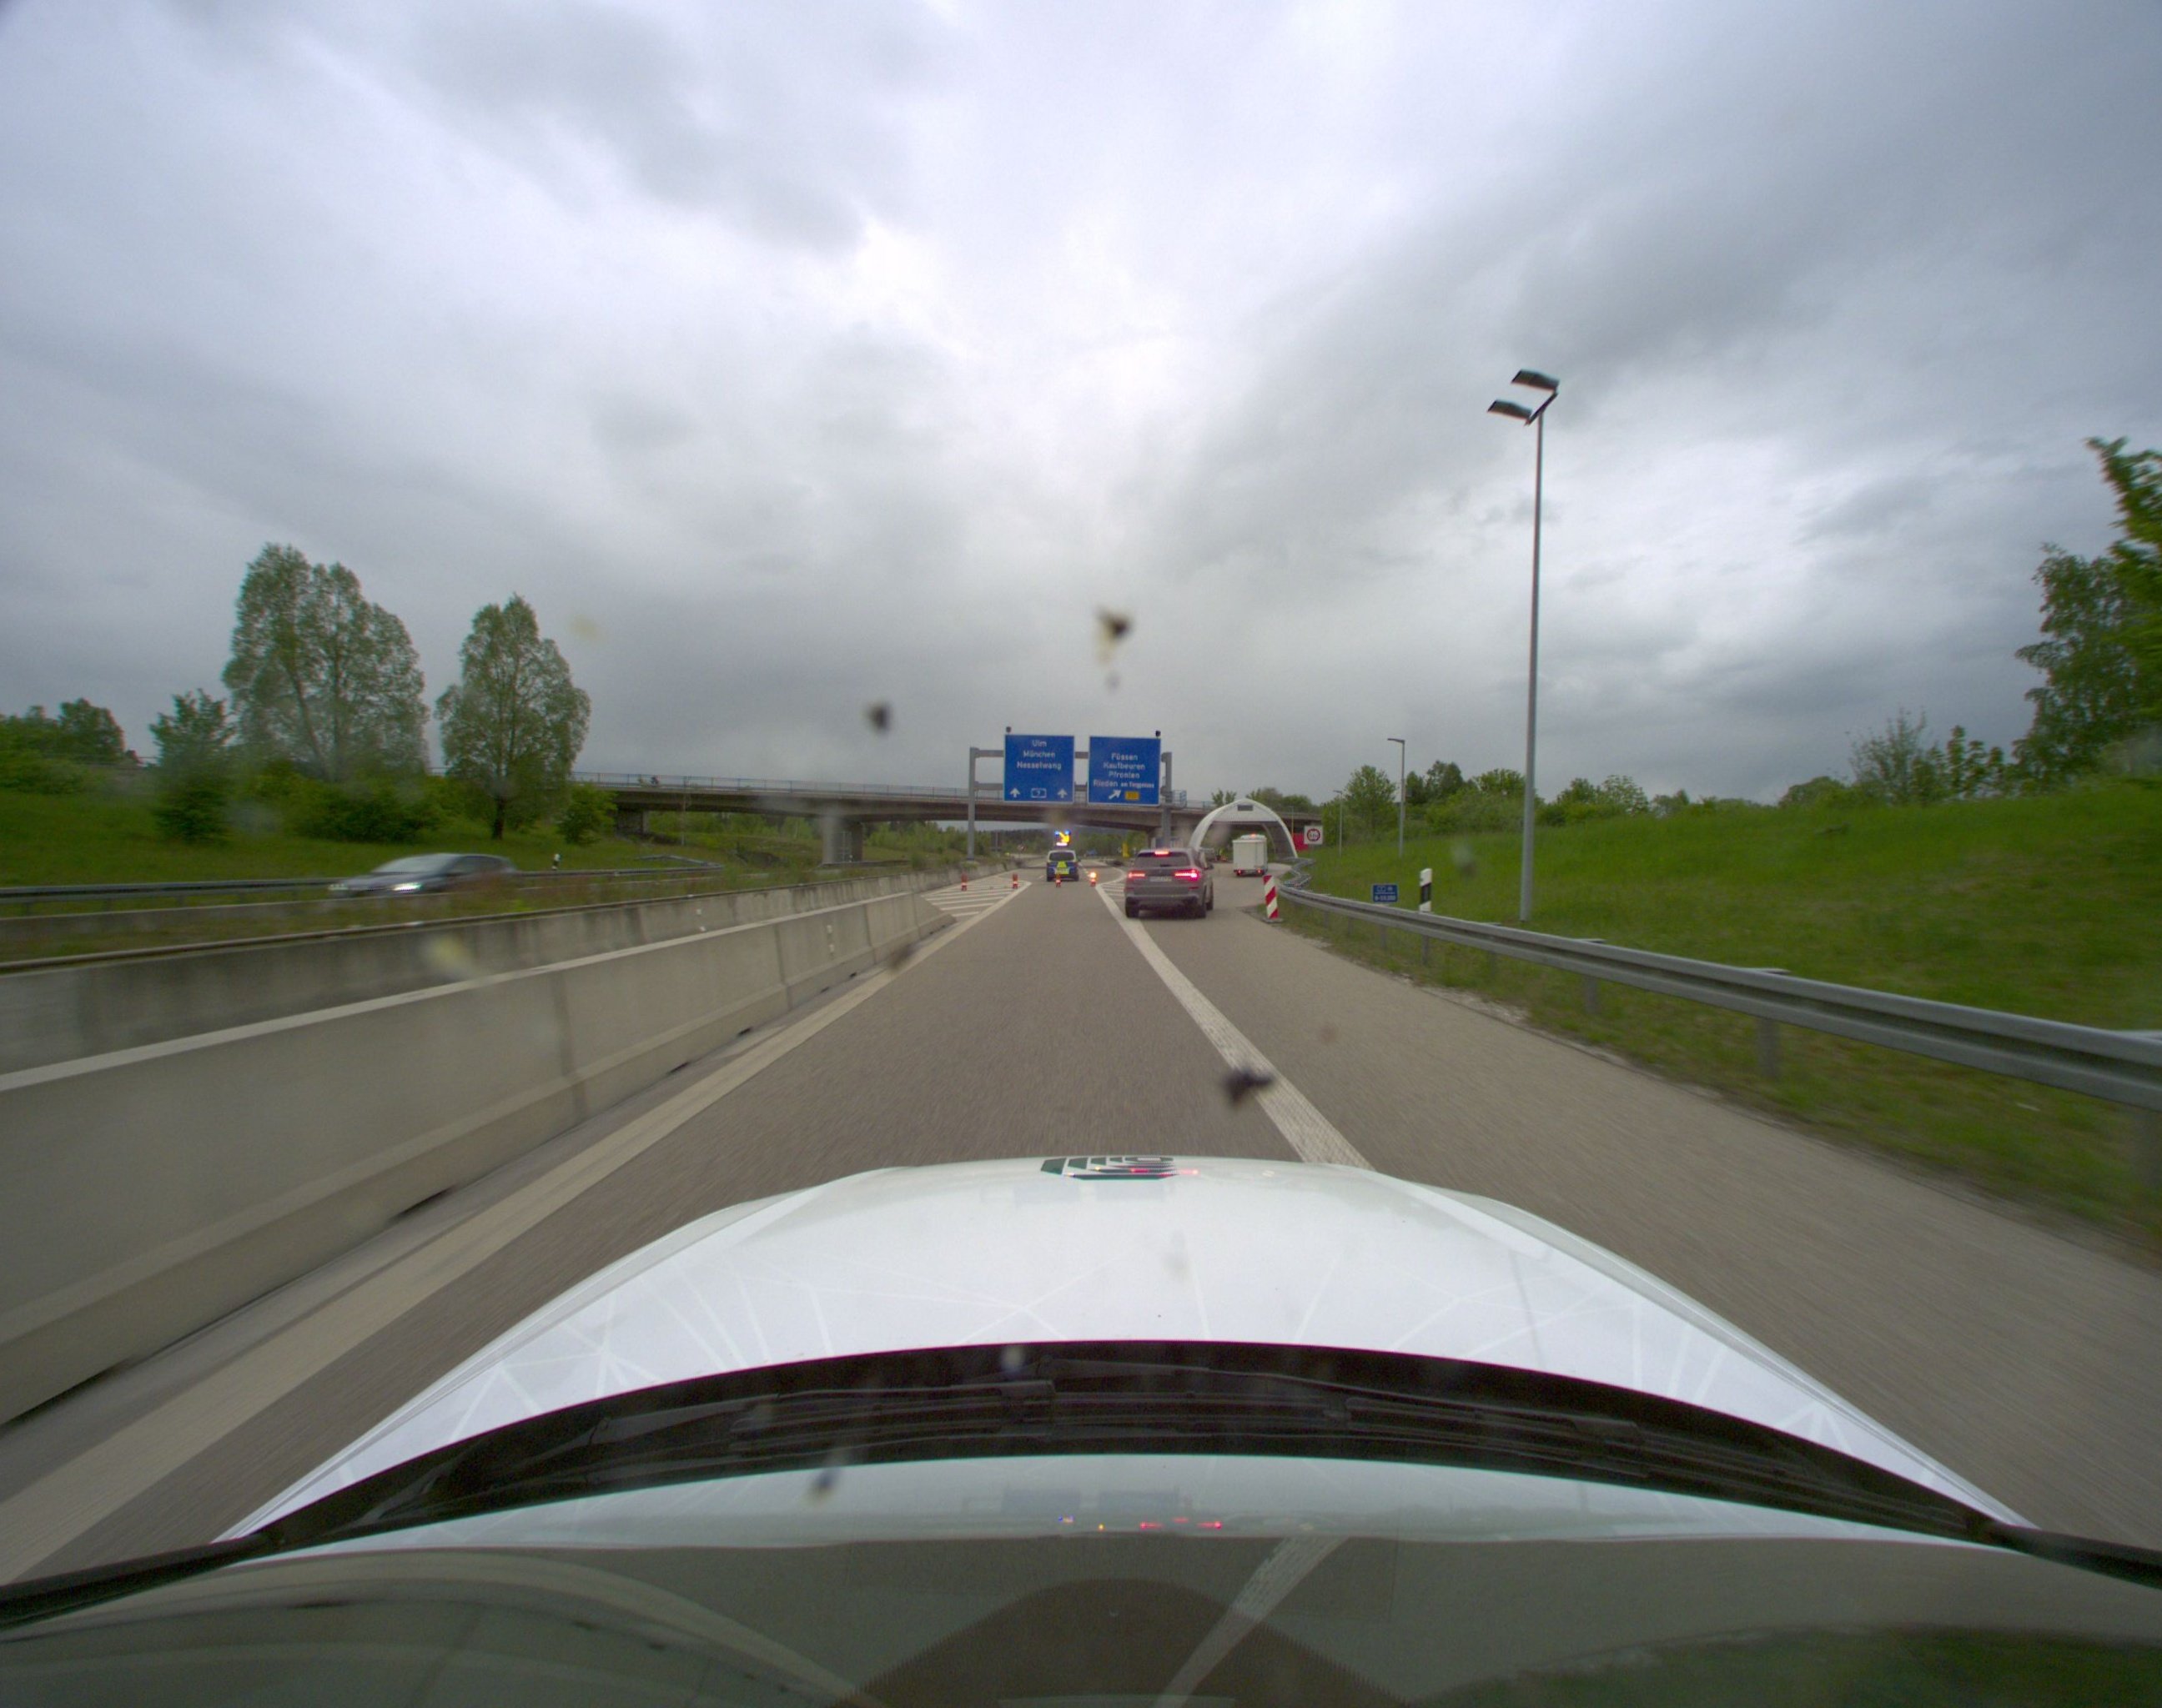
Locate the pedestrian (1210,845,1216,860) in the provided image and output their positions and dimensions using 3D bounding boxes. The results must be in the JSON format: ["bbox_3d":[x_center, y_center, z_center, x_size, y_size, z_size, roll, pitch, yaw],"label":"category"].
[{"bbox_3d":[15.991,-0.210,98.583,0.717,1.775,0.691,-1,0,4],"label":"pedestrian"}]

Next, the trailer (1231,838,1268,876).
[{"bbox_3d":[11.556,0.242,55.548,2.263,2.430,6.841,-1,-1,13],"label":"trailer"}]

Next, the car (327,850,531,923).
[{"bbox_3d":[-14.712,0.664,18.686,1.603,1.500,3.836,0,0,-1],"label":"car"}]

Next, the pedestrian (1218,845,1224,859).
[{"bbox_3d":[17.089,-0.246,99.501,0.645,1.775,0.606,-1,0,2],"label":"pedestrian"}]

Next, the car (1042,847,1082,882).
[{"bbox_3d":[-1.190,0.578,50.307,2.280,2.013,5.046,0,0,-2],"label":"car"}]

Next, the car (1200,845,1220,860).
[{"bbox_3d":[15.178,-0.184,96.181,1.985,1.772,3.769,-1,0,3],"label":"car"}]

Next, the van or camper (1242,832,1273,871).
[{"bbox_3d":[13.383,-0.141,61.756,2.142,2.763,5.891,-1,-1,13],"label":"van or camper"}]

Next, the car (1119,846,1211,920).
[{"bbox_3d":[2.283,0.675,21.051,1.981,1.719,4.012,-1,0,11],"label":"car"}]

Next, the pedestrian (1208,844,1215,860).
[{"bbox_3d":[15.906,-0.297,99.452,0.717,1.945,0.691,-1,0,4],"label":"pedestrian"}]
